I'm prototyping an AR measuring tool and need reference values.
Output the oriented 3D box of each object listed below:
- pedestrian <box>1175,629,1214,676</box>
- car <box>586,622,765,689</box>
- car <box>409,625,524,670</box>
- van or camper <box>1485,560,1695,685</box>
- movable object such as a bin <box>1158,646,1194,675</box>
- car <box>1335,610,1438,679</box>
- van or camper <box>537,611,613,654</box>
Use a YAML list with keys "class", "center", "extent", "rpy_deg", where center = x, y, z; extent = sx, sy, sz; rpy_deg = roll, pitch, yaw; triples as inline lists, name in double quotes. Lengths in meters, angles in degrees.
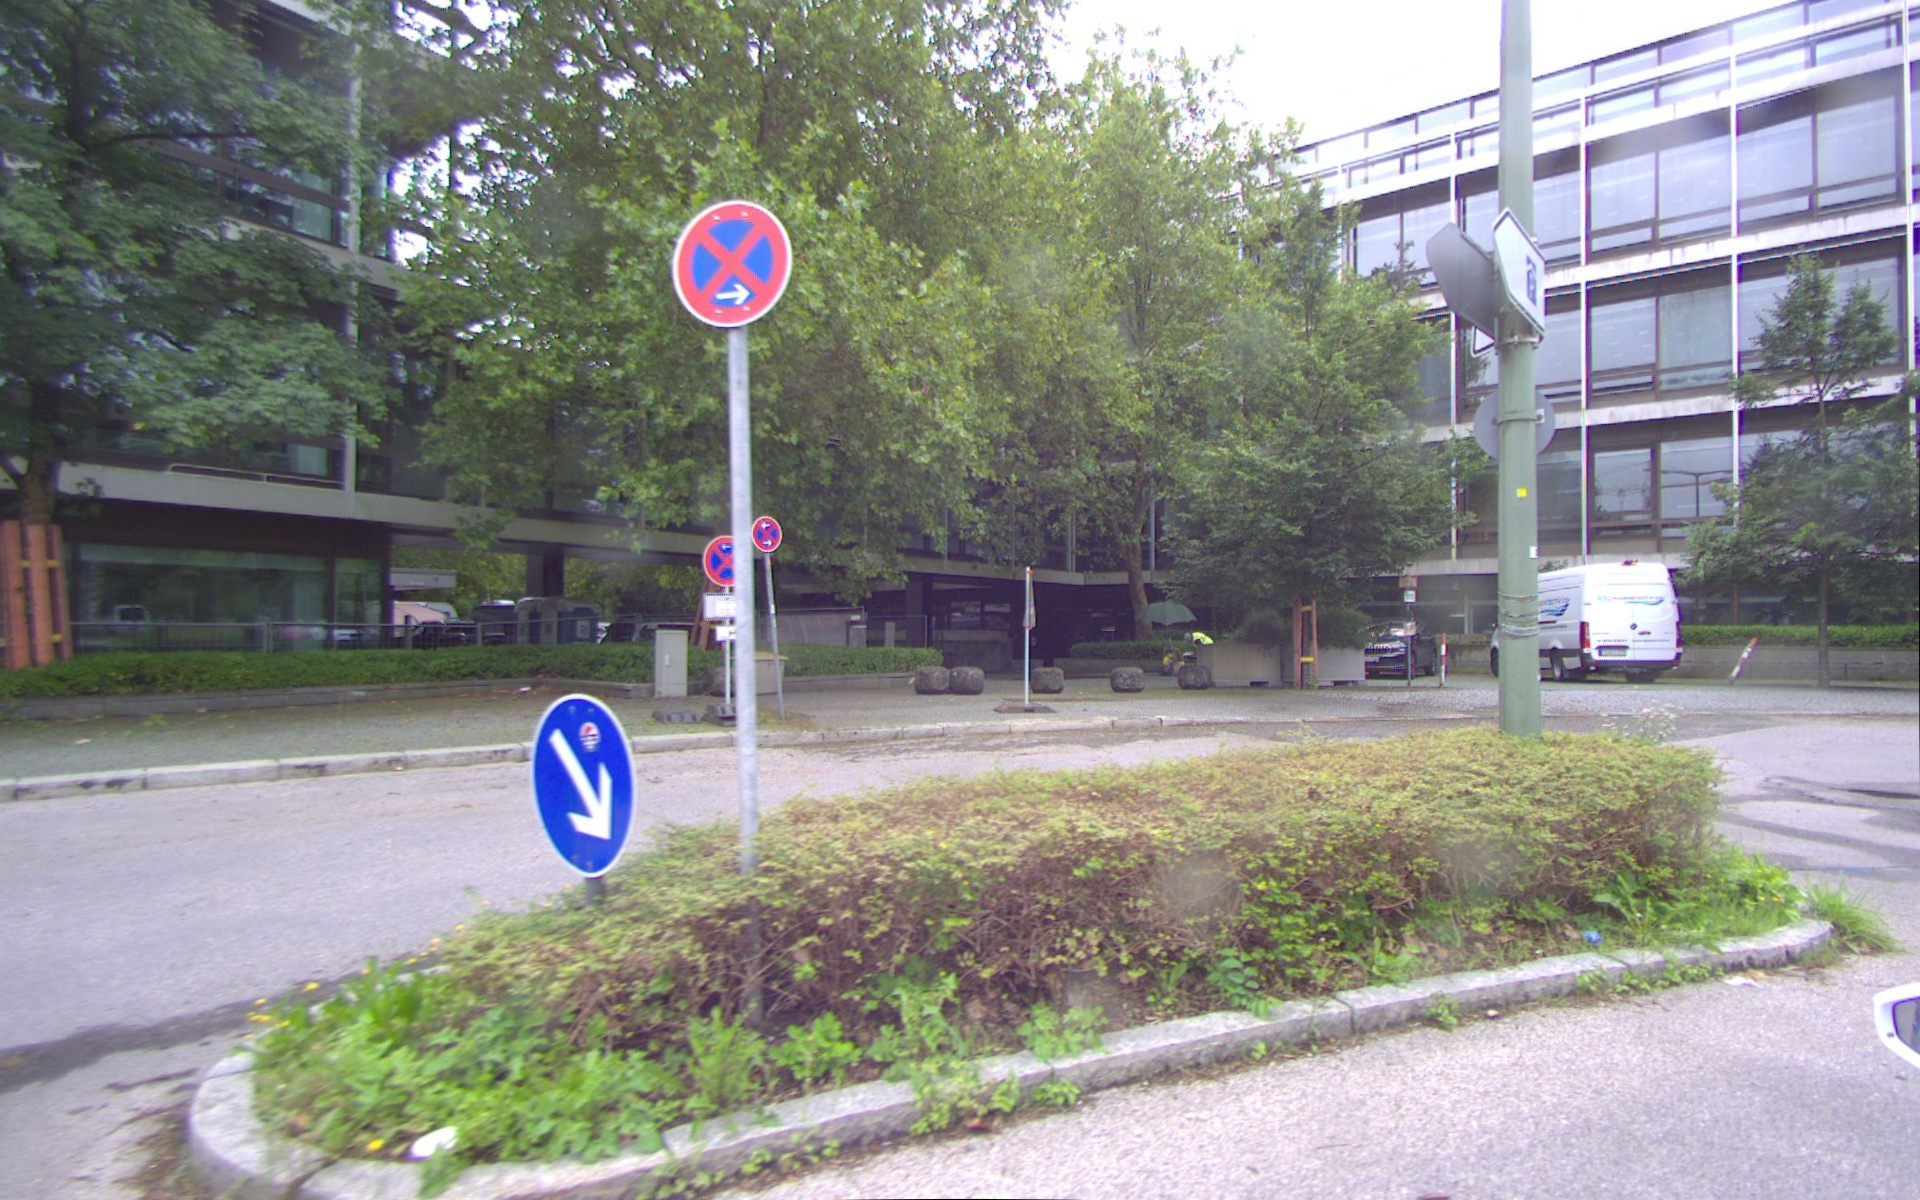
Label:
- class: "pedestrian"
  center: [6.582, 1.455, 28.173]
  extent: [0.915, 1.295, 0.539]
  rpy_deg: [0, -1, 39]
- class: "car"
  center: [-6.870, 1.298, 24.527]
  extent: [1.883, 1.493, 3.845]
  rpy_deg: [-1, -2, 38]
- class: "car"
  center: [-17.369, 1.629, 35.319]
  extent: [3.793, 1.493, 1.909]
  rpy_deg: [-1, -2, 32]
- class: "van or camper"
  center: [14.967, 0.643, 24.435]
  extent: [2.119, 2.614, 6.545]
  rpy_deg: [0, -3, 11]
- class: "movable object such as a bin"
  center: [6.115, 1.712, 28.482]
  extent: [0.824, 0.763, 0.570]
  rpy_deg: [0, -1, 40]
- class: "car"
  center: [11.876, 1.195, 27.823]
  extent: [1.914, 1.744, 4.228]
  rpy_deg: [-1, -2, 33]
- class: "van or camper"
  center: [-24.386, 2.030, 63.603]
  extent: [4.572, 2.629, 2.272]
  rpy_deg: [-1, -2, 33]
